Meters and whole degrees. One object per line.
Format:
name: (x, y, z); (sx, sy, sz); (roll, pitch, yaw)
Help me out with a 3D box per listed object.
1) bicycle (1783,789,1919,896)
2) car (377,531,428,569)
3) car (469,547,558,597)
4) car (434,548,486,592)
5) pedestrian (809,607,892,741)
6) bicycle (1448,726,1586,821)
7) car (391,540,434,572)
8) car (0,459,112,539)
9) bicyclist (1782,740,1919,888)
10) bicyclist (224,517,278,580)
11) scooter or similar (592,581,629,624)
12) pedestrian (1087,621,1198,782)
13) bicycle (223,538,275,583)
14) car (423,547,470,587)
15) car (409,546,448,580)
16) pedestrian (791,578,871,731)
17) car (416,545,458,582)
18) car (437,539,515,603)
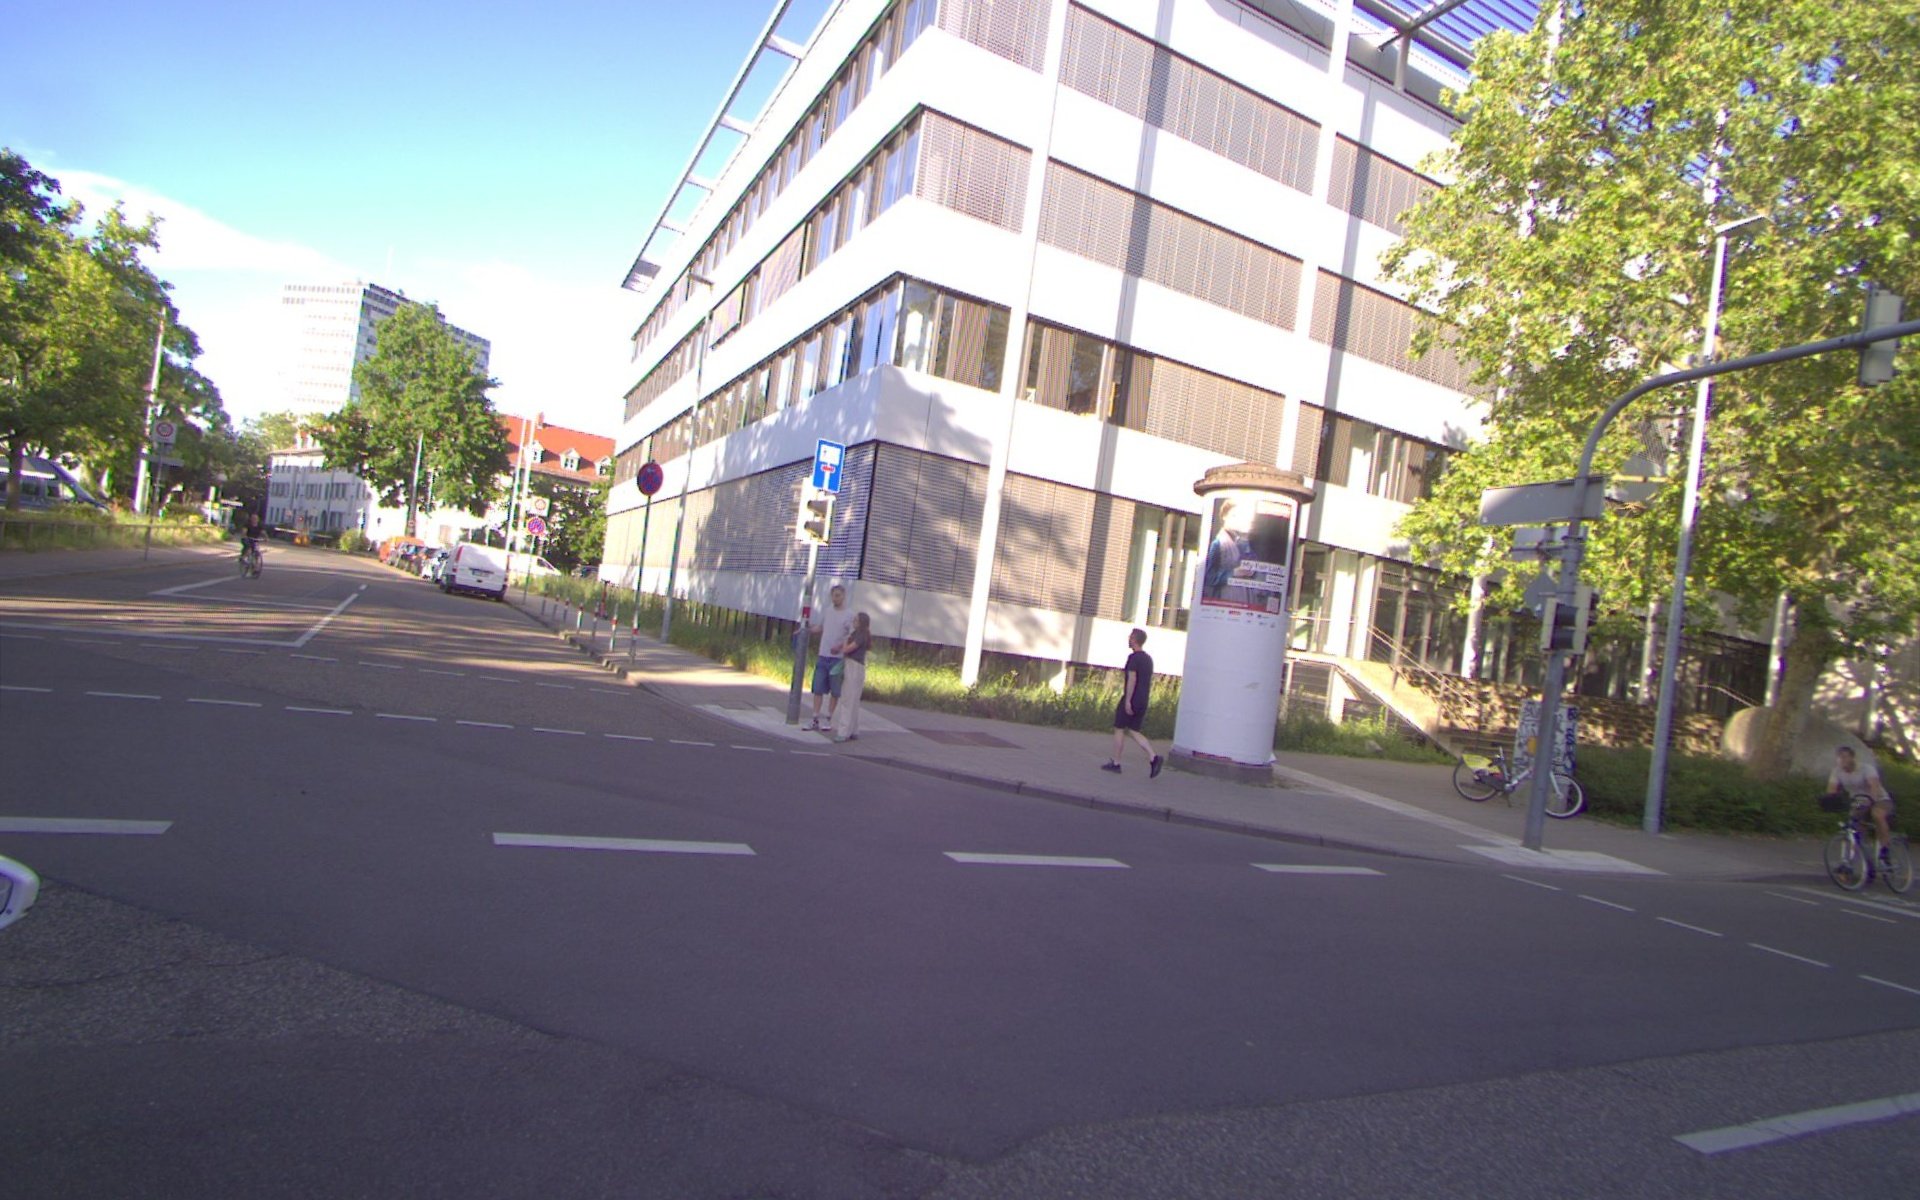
bicycle: (11.702, 3.144, 12.993); (1.902, 1.079, 0.701); (10, -1, -20)
car: (-34.529, -3.127, 62.263); (2.073, 1.809, 4.862); (8, 1, -36)
car: (-31.376, -1.960, 70.740); (5.086, 2.650, 1.976); (10, 0, -41)
car: (-20.599, -1.270, 41.351); (1.612, 1.502, 3.822); (8, -1, -29)
pedestrian: (-1.349, 0.902, 12.373); (0.557, 1.542, 0.666); (8, -1, -39)
bicycle: (8.262, 2.550, 14.965); (1.611, 1.012, 0.619); (9, 3, 38)
car: (-31.440, -2.549, 57.754); (1.616, 1.508, 3.567); (8, -1, -36)
car: (-36.725, -4.073, 39.178); (5.103, 2.603, 1.985); (9, -1, -29)
bicyclist: (11.524, 2.736, 12.964); (0.993, 1.659, 0.946); (8, -1, -19)
bicyclist: (-19.305, -1.408, 27.379); (1.073, 1.553, 0.873); (7, -1, 44)
scooter or similar: (-10.885, 0.072, 31.278); (0.692, 1.194, 1.546); (8, -1, -30)
pedestrian: (2.248, 1.233, 12.373); (0.979, 1.792, 0.605); (7, 0, 32)
bicycle: (-19.375, -1.091, 27.398); (1.997, 1.029, 0.714); (7, 0, 44)
car: (-23.147, -1.505, 45.297); (1.612, 1.502, 3.822); (8, -1, -29)
car: (-28.294, -1.985, 53.504); (1.612, 1.502, 3.822); (8, -1, -29)
pedestrian: (-1.659, 0.696, 12.917); (0.566, 1.861, 0.597); (8, 0, -42)
car: (-25.649, -1.800, 49.312); (1.612, 1.502, 3.822); (8, -1, -29)
car: (-17.338, -1.074, 35.891); (2.086, 1.850, 4.685); (8, -1, -29)
